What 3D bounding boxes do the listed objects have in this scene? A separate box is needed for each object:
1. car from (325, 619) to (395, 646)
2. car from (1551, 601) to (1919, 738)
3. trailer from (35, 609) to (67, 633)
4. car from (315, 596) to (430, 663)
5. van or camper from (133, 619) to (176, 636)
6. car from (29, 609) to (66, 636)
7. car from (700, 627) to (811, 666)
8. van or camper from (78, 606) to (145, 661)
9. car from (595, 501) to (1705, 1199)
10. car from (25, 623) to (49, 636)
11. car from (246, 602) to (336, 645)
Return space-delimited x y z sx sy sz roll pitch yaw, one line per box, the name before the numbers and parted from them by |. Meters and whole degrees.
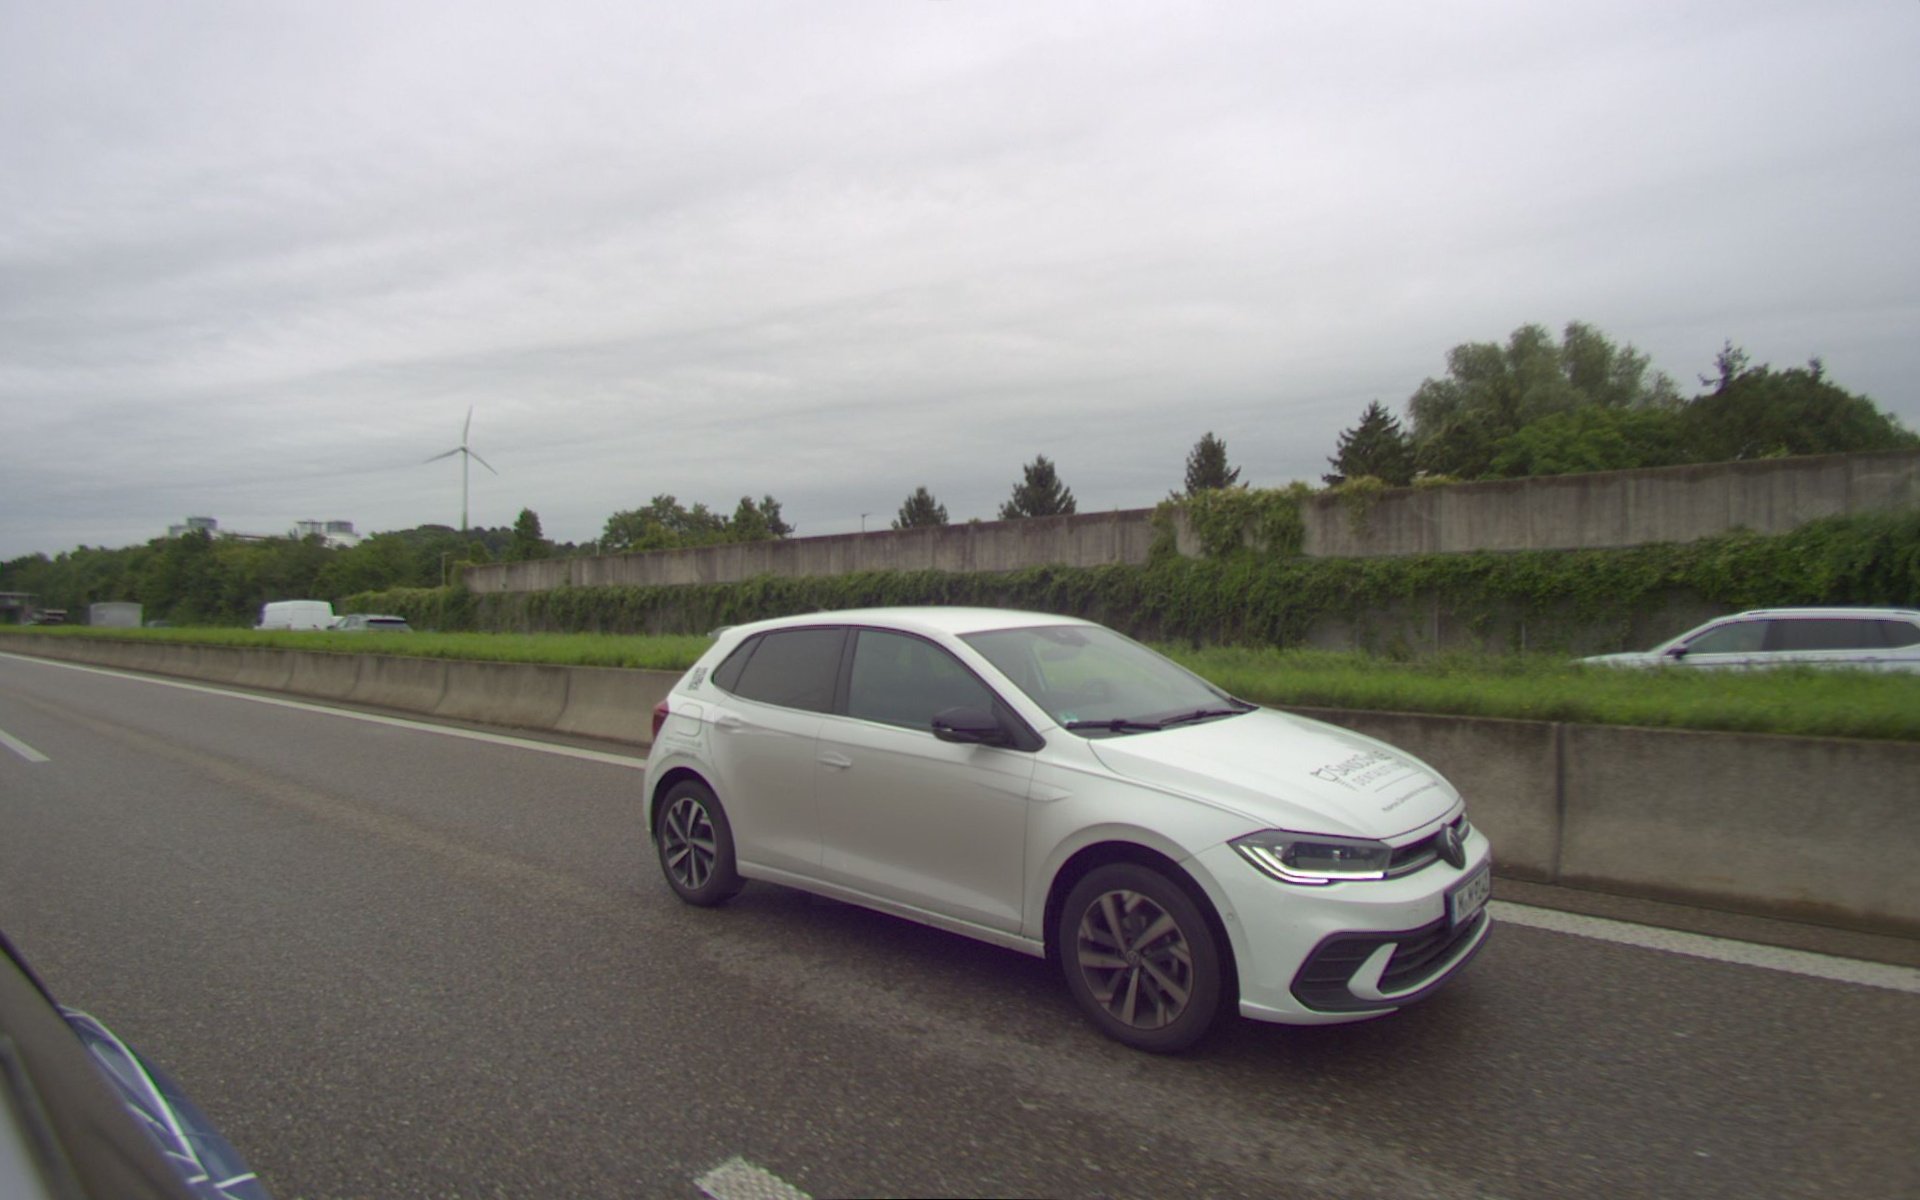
car | -31.815 1.697 53.630 4.524 1.354 1.860 -1 -1 41
car | 10.200 0.765 12.294 4.932 1.465 1.973 -1 -1 41
trailer | -131.577 2.993 146.445 10.560 3.314 2.282 -1 0 42
car | -19.162 0.918 32.925 4.468 2.029 1.903 -1 0 41
van or camper | -89.830 3.015 112.774 8.431 1.814 2.169 -1 0 40
car | -72.103 1.767 79.963 3.998 2.029 1.749 -1 0 42
car | -6.257 1.384 30.842 3.271 1.104 1.589 -1 -1 38
van or camper | -64.861 2.496 77.270 8.398 3.978 2.680 -1 0 41
car | 0.368 0.633 4.540 4.661 1.630 1.735 -1 -2 41
car | -121.108 3.811 132.815 4.290 1.645 1.765 -1 0 40
car | -33.567 1.203 50.678 6.531 1.926 2.104 -3 -1 41
